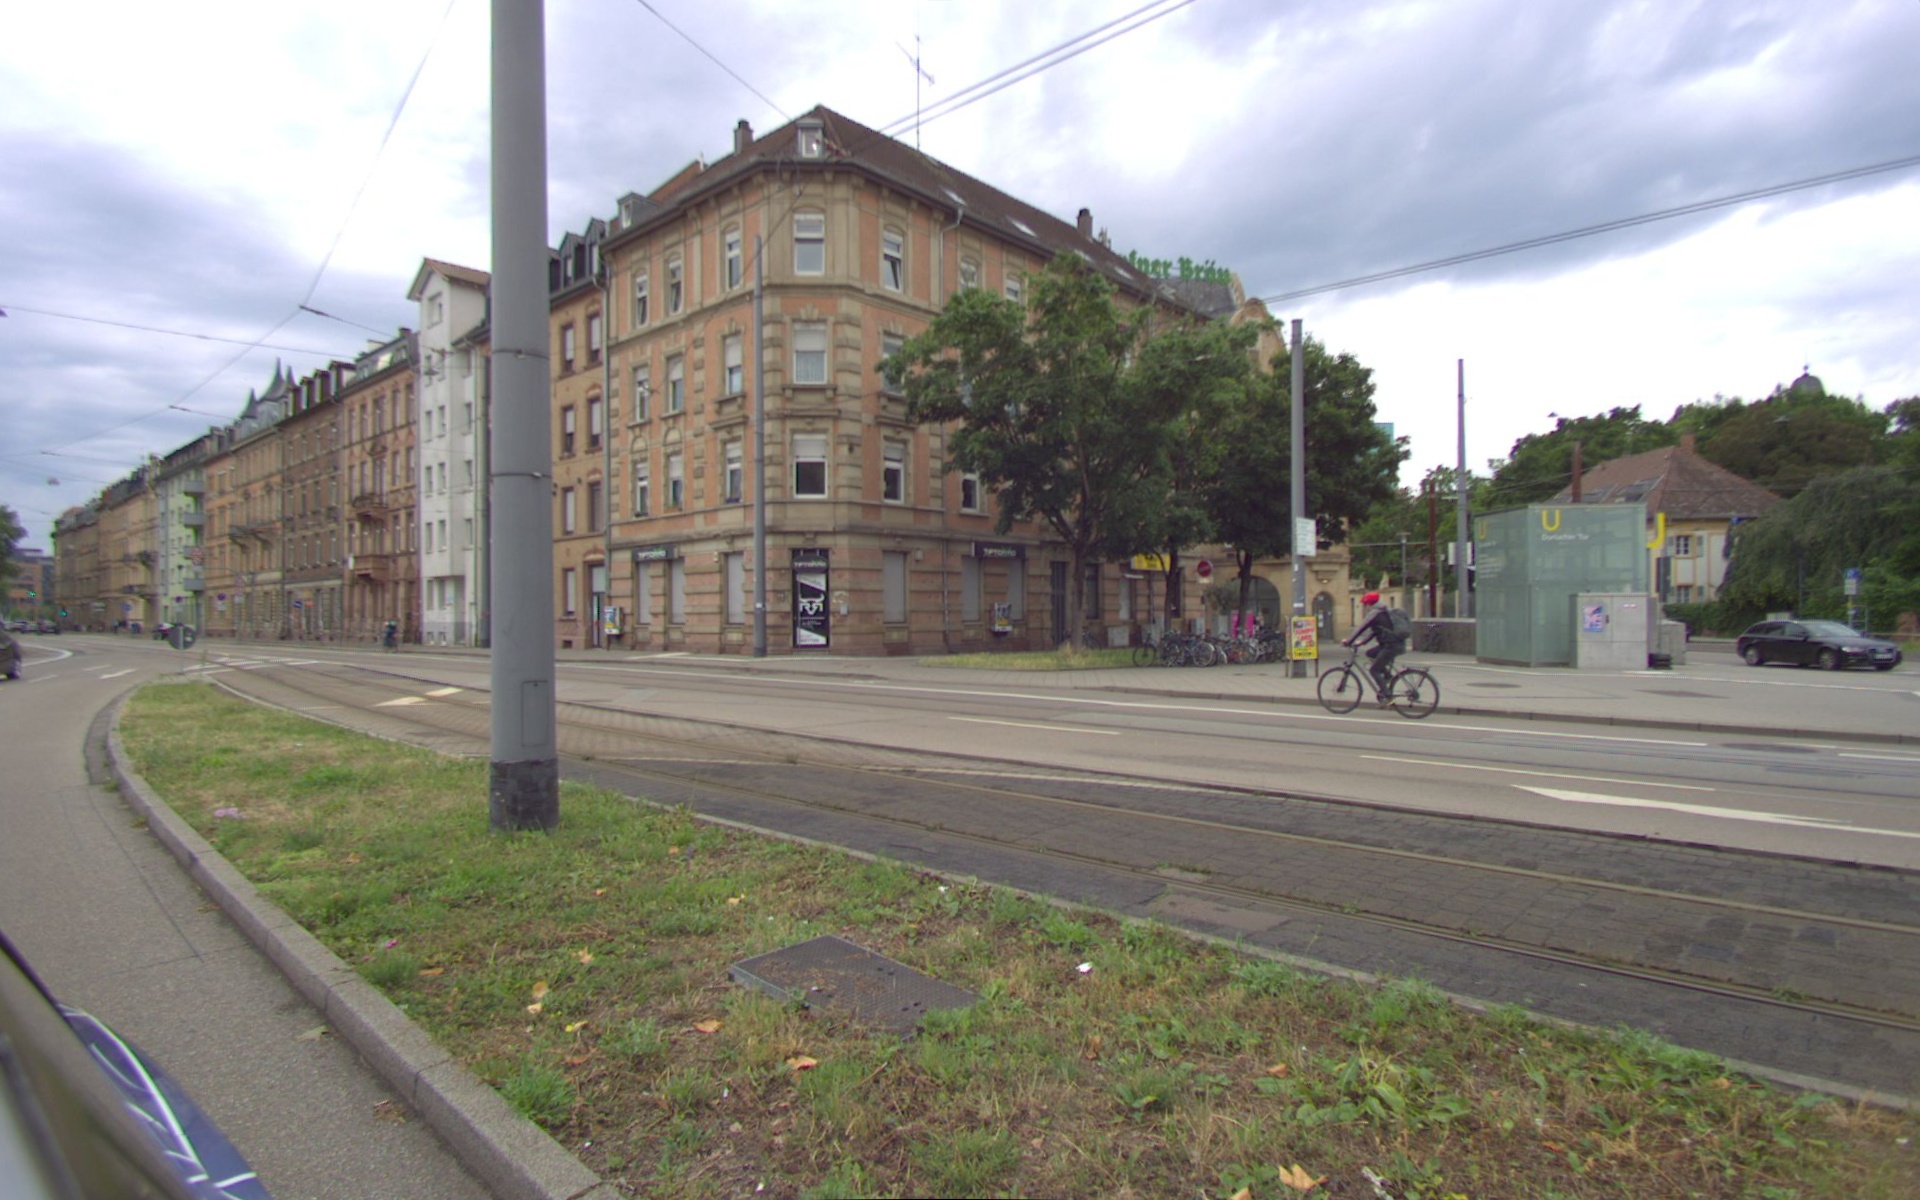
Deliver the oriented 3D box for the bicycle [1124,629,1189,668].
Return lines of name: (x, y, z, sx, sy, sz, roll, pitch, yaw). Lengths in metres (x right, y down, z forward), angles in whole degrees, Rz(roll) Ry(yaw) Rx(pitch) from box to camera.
bicycle: (5.380, 1.315, 27.747, 0.492, 0.994, 1.873, 0, -1, -38)

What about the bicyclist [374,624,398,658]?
bicyclist: (-25.585, 1.816, 45.123, 0.941, 1.506, 0.654, -1, -1, 40)

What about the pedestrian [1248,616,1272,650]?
pedestrian: (15.996, 1.751, 54.039, 0.938, 1.735, 0.848, 0, -1, -44)

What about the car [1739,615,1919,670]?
car: (25.138, 1.178, 29.498, 1.674, 1.460, 4.141, -1, -1, 1)

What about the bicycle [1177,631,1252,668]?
bicycle: (7.210, 1.394, 28.755, 0.492, 0.994, 2.225, 0, -1, -37)

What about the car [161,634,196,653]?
car: (-63.152, 3.491, 81.758, 1.827, 1.491, 3.831, 0, -1, -44)

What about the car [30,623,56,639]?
car: (-95.427, 3.239, 105.287, 4.231, 1.652, 1.777, -1, -1, 44)

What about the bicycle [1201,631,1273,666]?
bicycle: (8.279, 1.432, 30.366, 0.492, 0.994, 2.225, 0, -1, -37)

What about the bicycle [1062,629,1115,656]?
bicycle: (4.558, 1.483, 35.975, 0.652, 0.921, 1.994, 0, -1, -37)

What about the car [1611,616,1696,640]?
car: (40.078, 1.592, 58.612, 1.905, 1.298, 4.004, 0, -1, -5)

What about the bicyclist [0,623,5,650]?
bicyclist: (-65.198, 2.469, 68.517, 0.719, 1.770, 0.912, 0, -1, -41)

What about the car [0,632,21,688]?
car: (-25.757, 1.575, 25.911, 1.686, 1.432, 4.081, 0, -1, -31)

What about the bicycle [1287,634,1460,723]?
bicycle: (6.094, 1.114, 15.038, 0.814, 1.217, 2.236, 2, -3, -43)

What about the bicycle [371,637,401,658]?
bicycle: (-25.619, 2.108, 45.153, 1.718, 0.922, 0.600, -1, -1, 39)

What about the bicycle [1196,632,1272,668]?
bicycle: (8.019, 1.438, 29.719, 0.601, 0.994, 2.225, 0, -1, -37)

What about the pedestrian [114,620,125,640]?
pedestrian: (-87.999, 3.140, 105.922, 0.700, 2.029, 0.799, -2, -1, 43)

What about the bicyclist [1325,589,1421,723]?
bicyclist: (6.117, 0.815, 15.016, 0.819, 1.906, 1.050, 2, -3, -43)

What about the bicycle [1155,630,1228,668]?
bicycle: (6.478, 1.365, 28.454, 0.472, 1.014, 2.225, 0, -1, -37)

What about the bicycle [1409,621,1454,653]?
bicycle: (17.492, 1.362, 37.606, 0.731, 1.123, 2.359, -1, -1, 5)

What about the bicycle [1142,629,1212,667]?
bicycle: (6.013, 1.327, 28.148, 0.513, 0.994, 2.042, 0, -1, -37)

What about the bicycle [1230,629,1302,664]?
bicycle: (9.677, 1.456, 32.095, 0.677, 1.047, 2.225, 0, -1, -37)

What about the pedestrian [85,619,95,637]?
pedestrian: (-98.134, 3.185, 114.171, 0.734, 2.029, 0.803, -2, -1, 43)

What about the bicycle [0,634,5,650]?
bicycle: (-65.202, 2.834, 68.505, 0.716, 1.016, 2.180, 0, -1, -40)

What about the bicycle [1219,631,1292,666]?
bicycle: (9.031, 1.465, 30.997, 0.575, 0.994, 2.225, 0, -1, -37)
